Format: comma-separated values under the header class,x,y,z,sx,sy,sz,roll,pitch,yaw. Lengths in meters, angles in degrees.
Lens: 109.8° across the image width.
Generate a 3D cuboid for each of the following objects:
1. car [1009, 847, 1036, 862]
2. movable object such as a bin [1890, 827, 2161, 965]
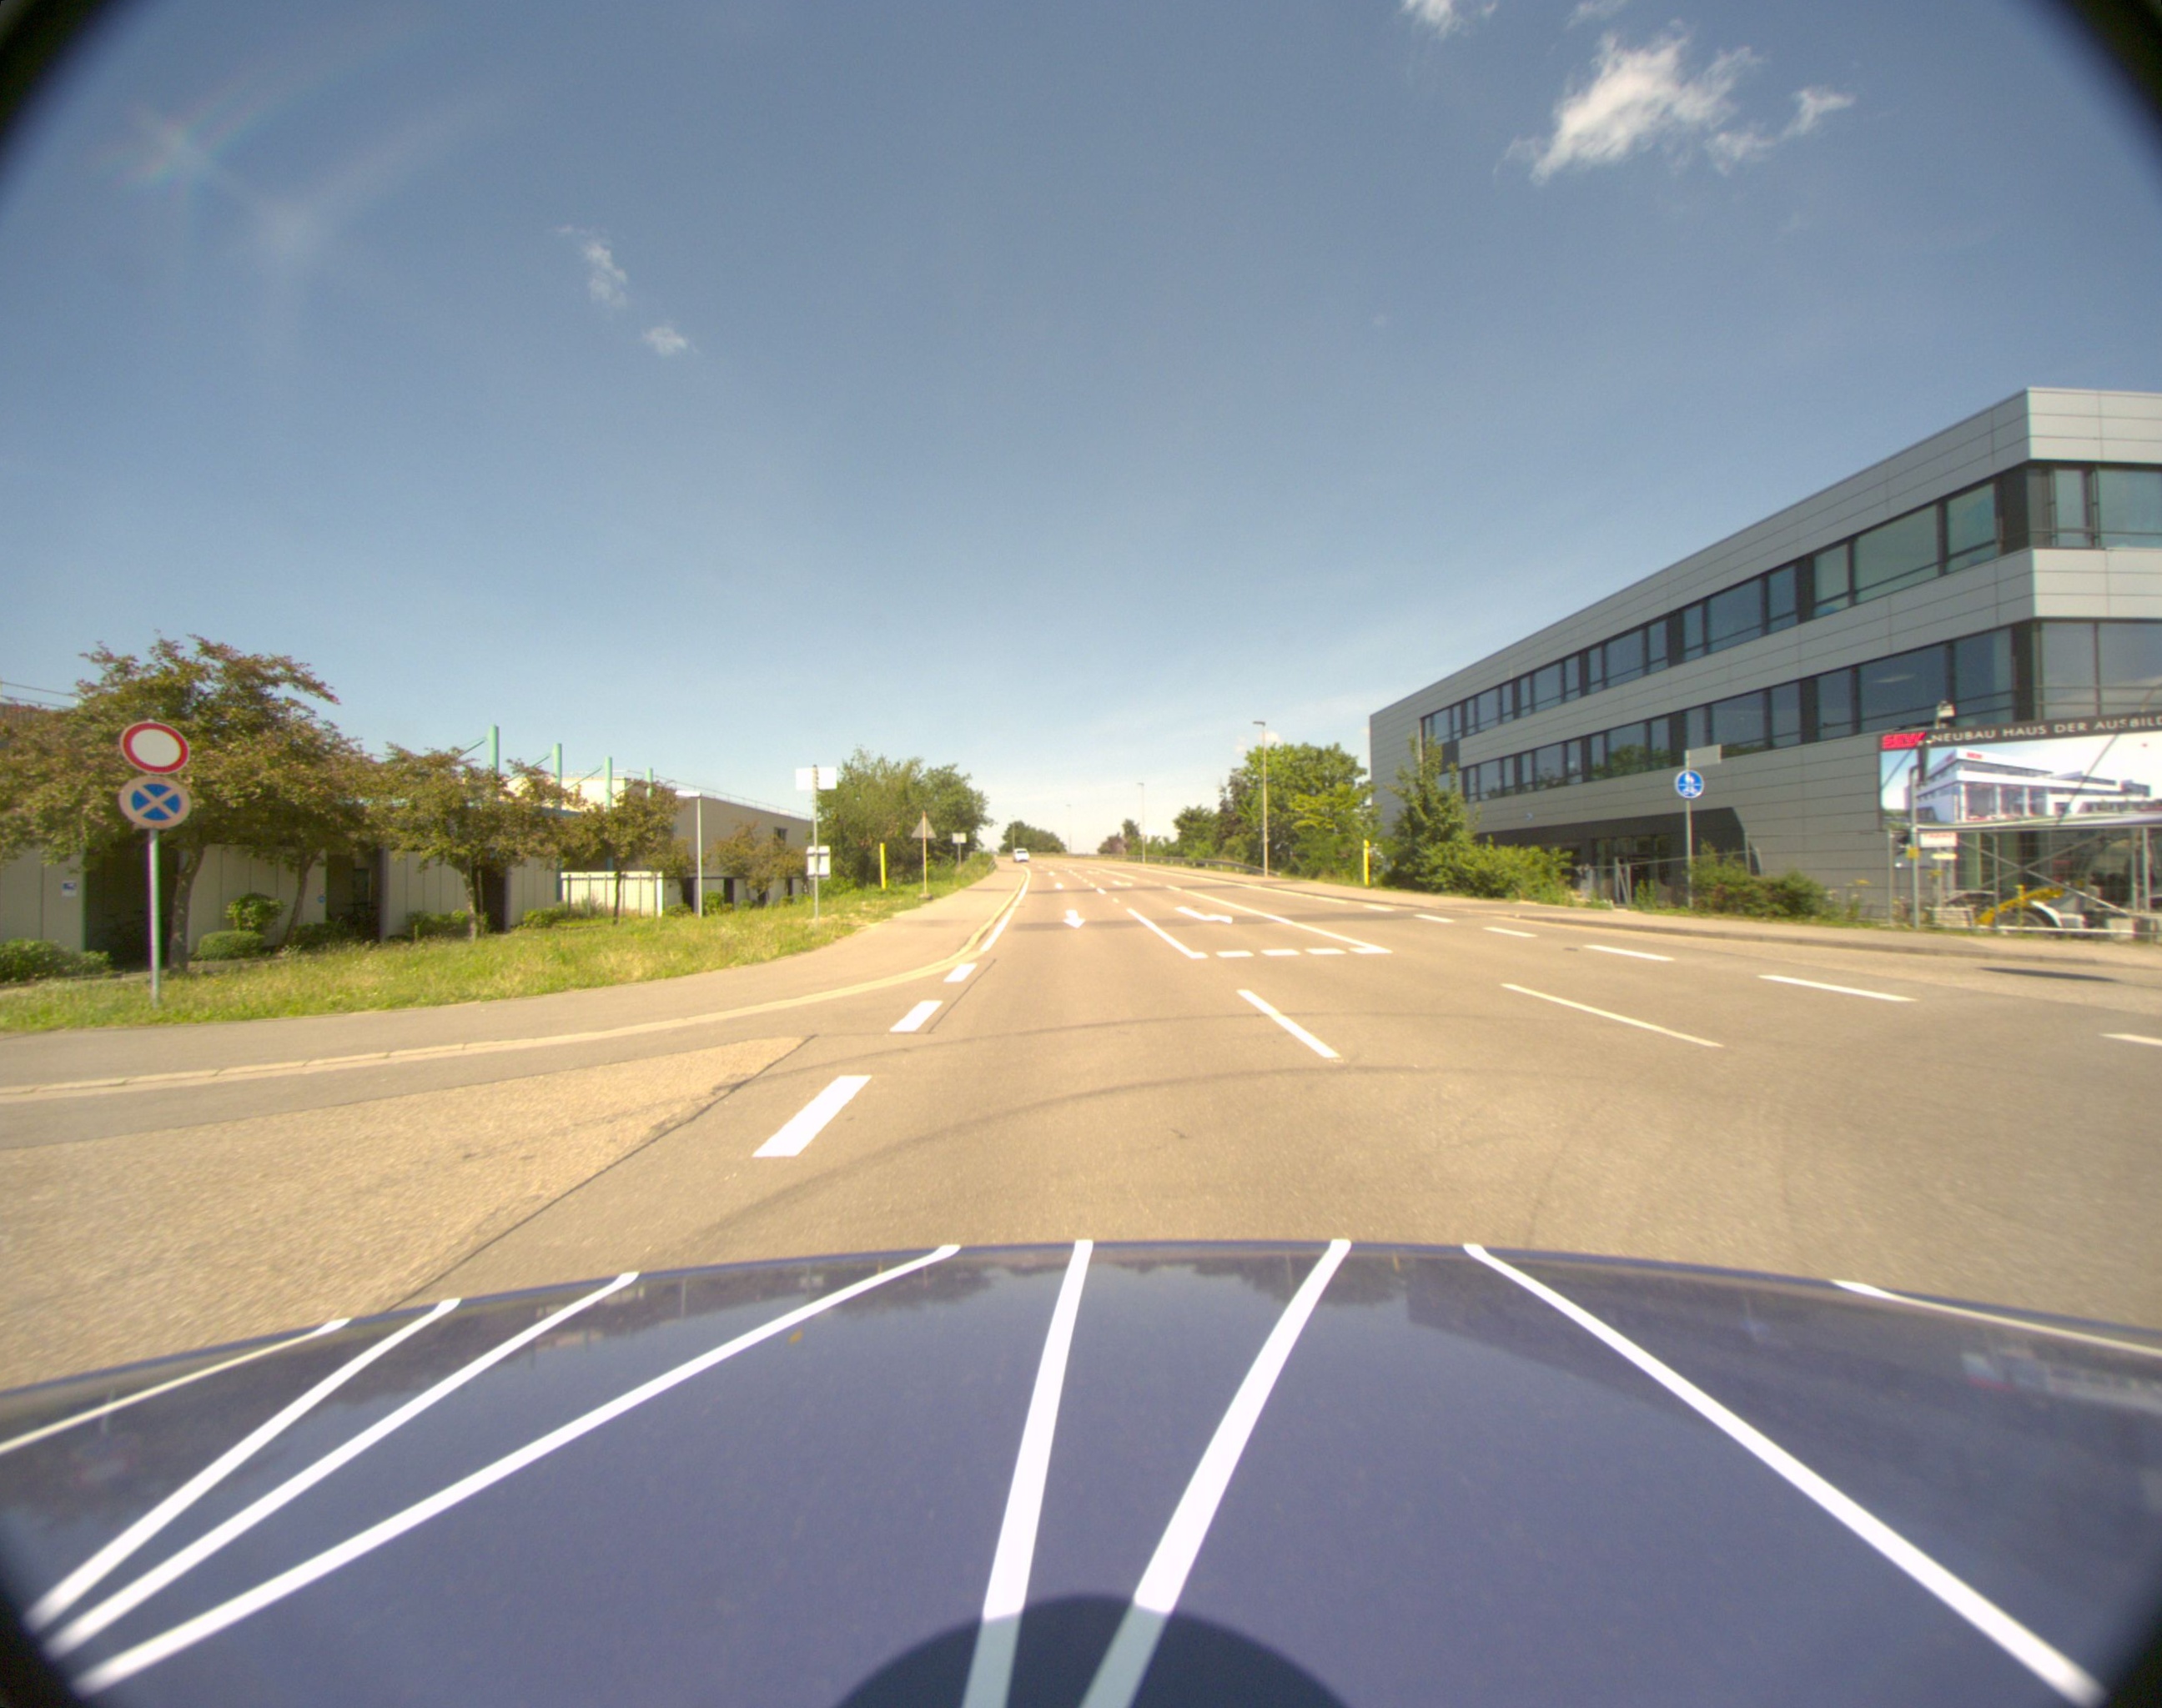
class,x,y,z,sx,sy,sz,roll,pitch,yaw
car,-8.041,0.059,104.238,2.096,1.751,4.274,-9,3,-27
movable object such as a bin,22.004,0.780,16.526,2.080,2.683,5.728,-2,2,-13
